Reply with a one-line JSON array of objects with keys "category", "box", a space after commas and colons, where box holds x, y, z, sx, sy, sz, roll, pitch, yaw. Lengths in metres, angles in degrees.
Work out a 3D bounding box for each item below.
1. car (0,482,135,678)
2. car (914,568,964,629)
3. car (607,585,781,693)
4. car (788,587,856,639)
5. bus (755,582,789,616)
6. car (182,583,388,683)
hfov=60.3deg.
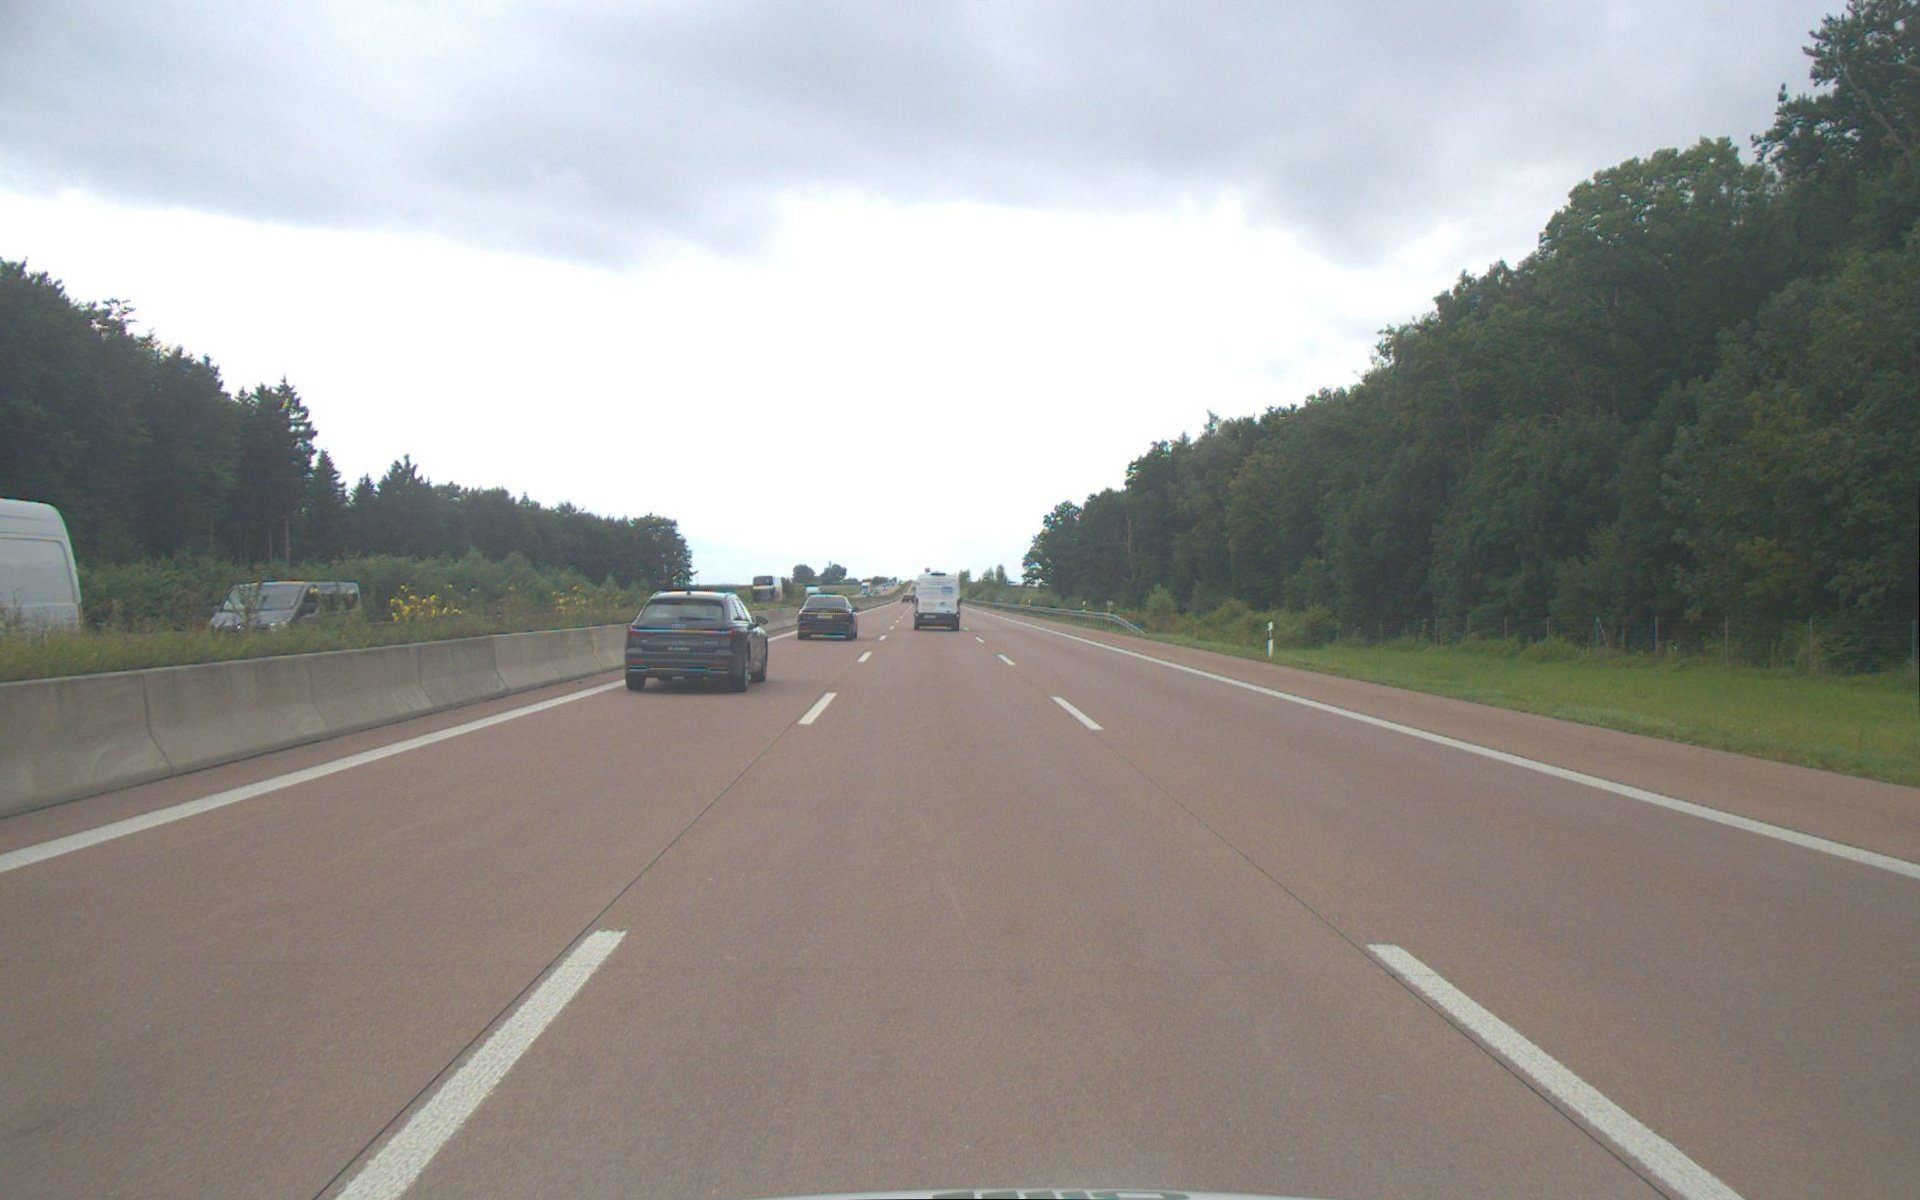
[{"category": "car", "box": [-11.675, -0.241, 17.682, 2.030, 2.178, 7.486, 2, 0, -1]}, {"category": "car", "box": [-0.958, -0.113, 74.044, 2.094, 2.550, 7.130, 0, 1, -1]}, {"category": "car", "box": [-4.110, 0.545, 26.448, 2.017, 1.517, 5.451, 1, 0, -2]}, {"category": "car", "box": [-4.576, 0.394, 55.546, 2.044, 1.577, 5.671, 2, 1, -3]}, {"category": "bus", "box": [-23.198, -0.174, 204.753, 2.987, 3.956, 14.356, 1, 0, -2]}, {"category": "car", "box": [-15.326, 0.685, 38.037, 2.177, 2.049, 6.376, 2, 0, -1]}]
